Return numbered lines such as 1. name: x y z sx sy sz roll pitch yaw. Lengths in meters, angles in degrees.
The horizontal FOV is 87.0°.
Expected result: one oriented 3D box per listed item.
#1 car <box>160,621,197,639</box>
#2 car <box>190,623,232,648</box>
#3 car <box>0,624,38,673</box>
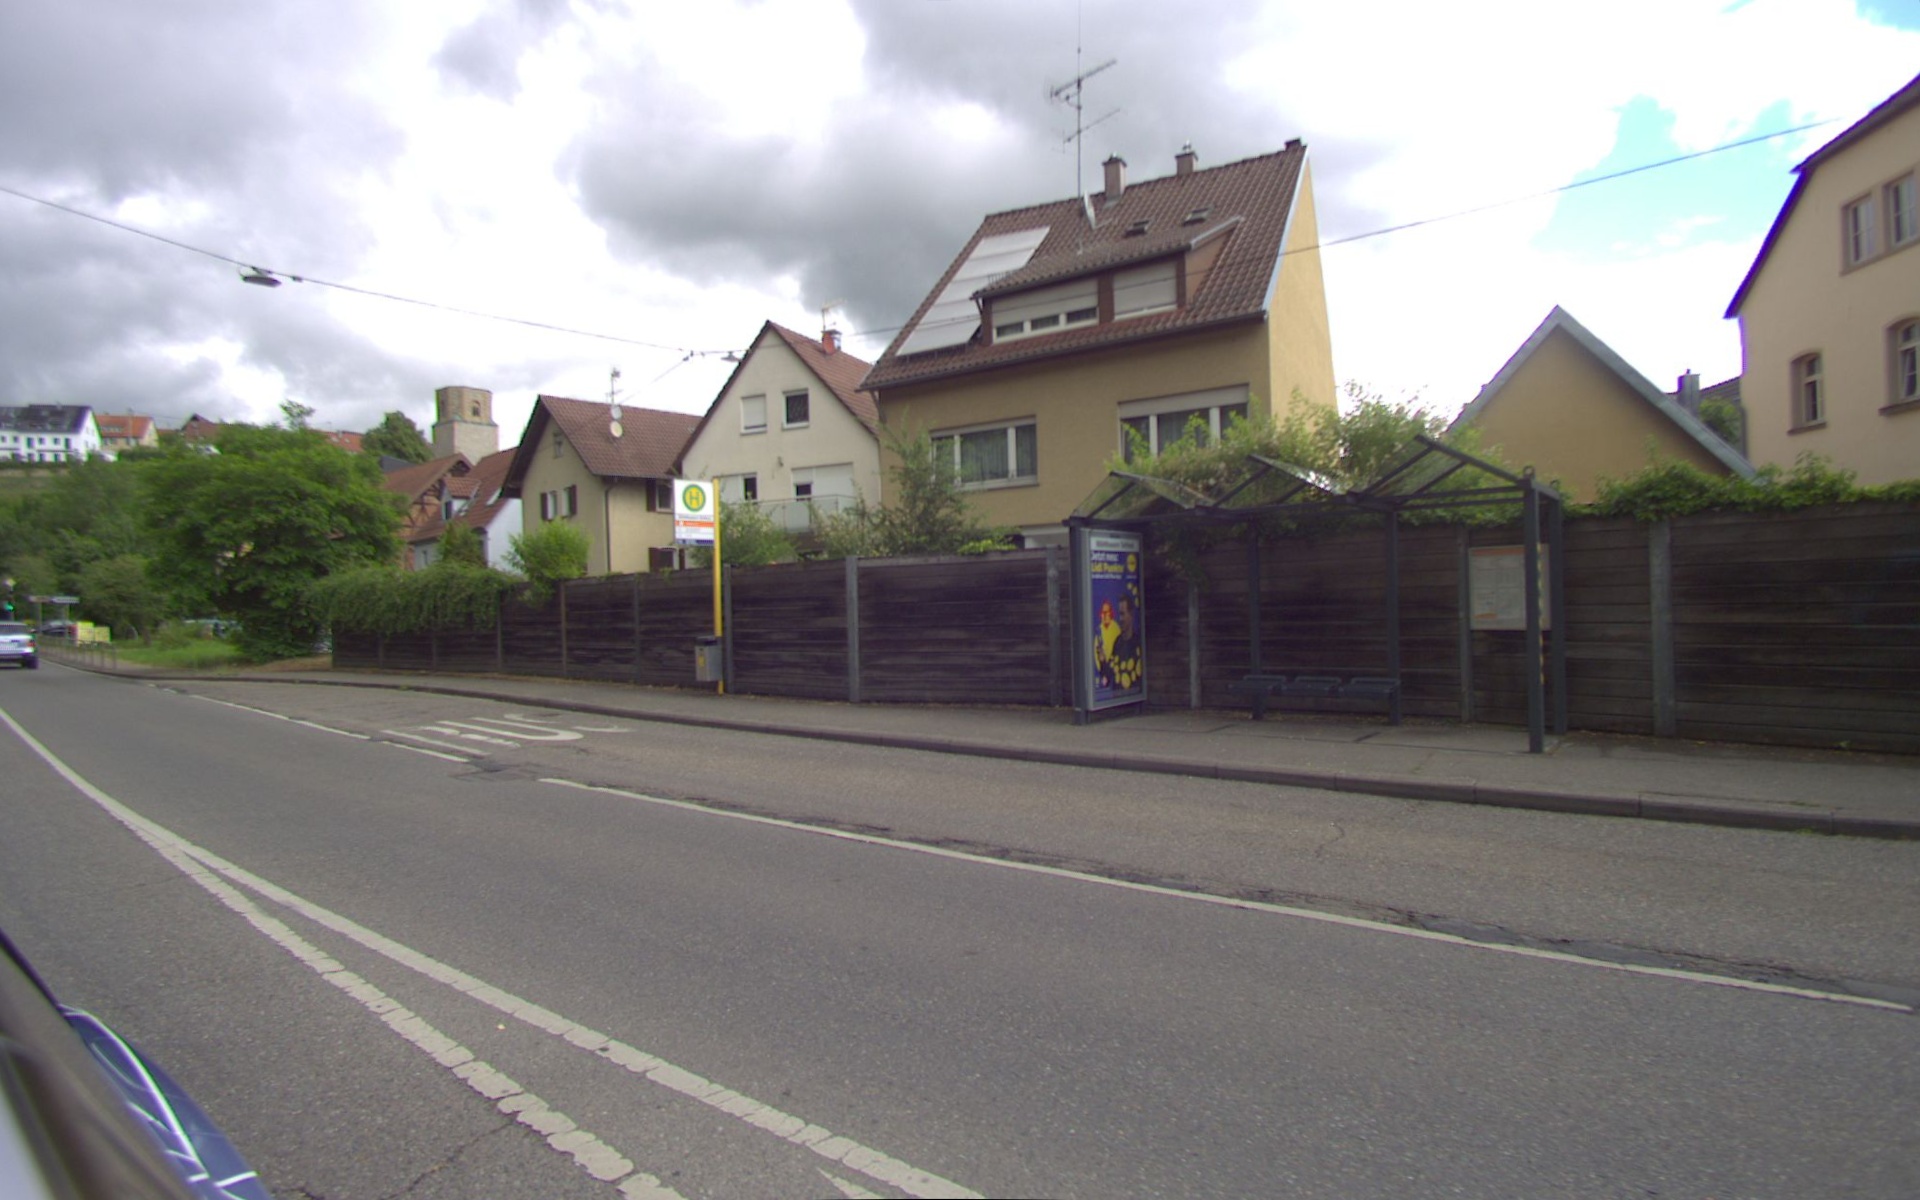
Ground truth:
1. car: -60.968 2.311 78.929 4.152 1.355 1.627 -2 -2 43
2. car: -51.148 2.383 69.074 1.790 1.630 4.003 1 -2 -44
3. car: -35.862 1.777 37.638 4.691 1.737 1.914 -2 -2 43
